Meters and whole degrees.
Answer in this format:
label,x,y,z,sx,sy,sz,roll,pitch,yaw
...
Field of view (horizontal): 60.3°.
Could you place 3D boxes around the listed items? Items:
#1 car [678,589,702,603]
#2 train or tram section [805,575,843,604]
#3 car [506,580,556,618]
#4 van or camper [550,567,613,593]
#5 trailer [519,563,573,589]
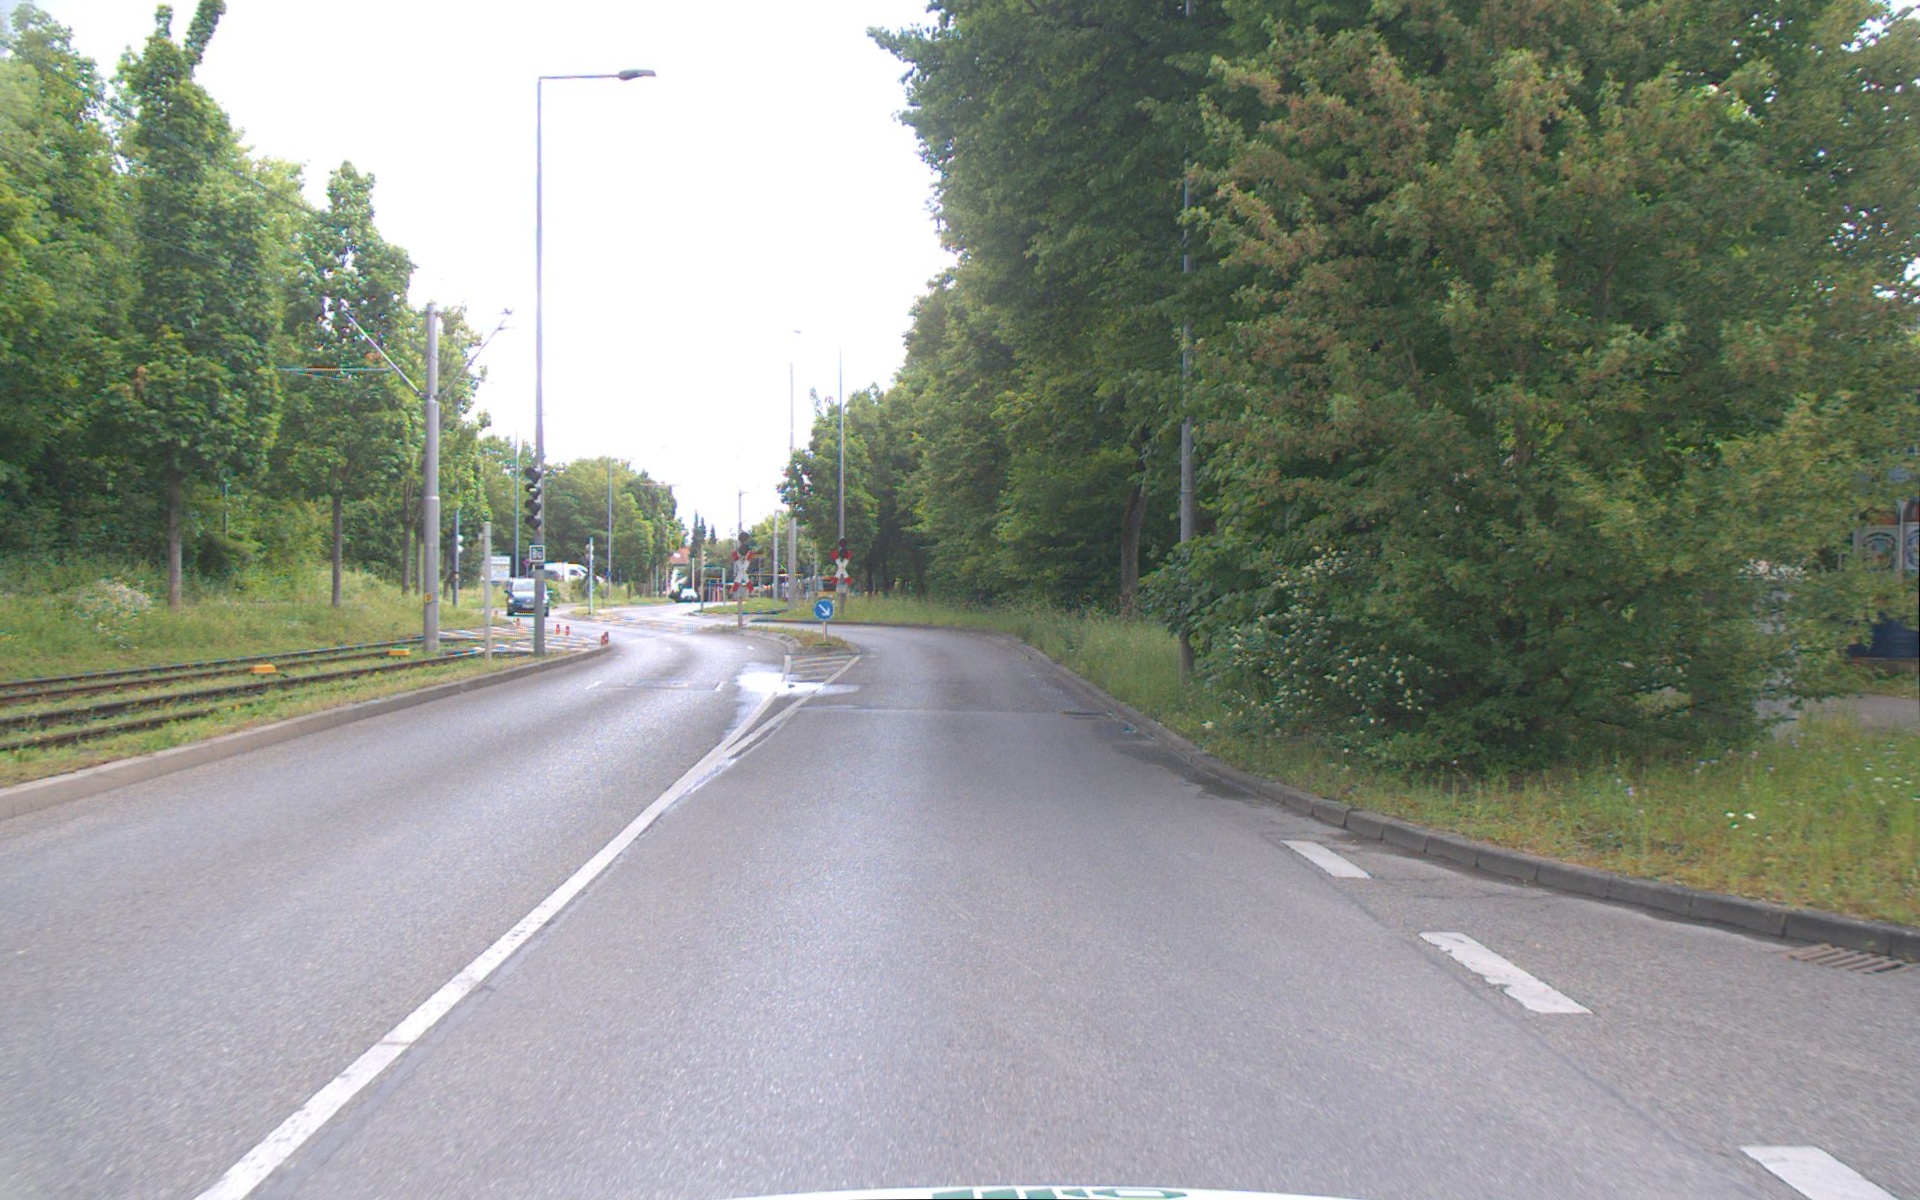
label,x,y,z,sx,sy,sz,roll,pitch,yaw
car,-29.325,-0.417,179.599,1.953,1.463,4.425,-1,1,-1
train or tram section,-17.504,-1.300,210.579,2.951,3.368,34.648,1,0,-8
car,-18.775,-0.086,72.497,1.834,1.547,4.227,1,1,-11
van or camper,-34.147,-1.800,149.233,5.229,2.241,1.998,1,0,-6
trailer,-33.692,-1.961,134.715,3.907,2.049,1.907,1,0,-3
